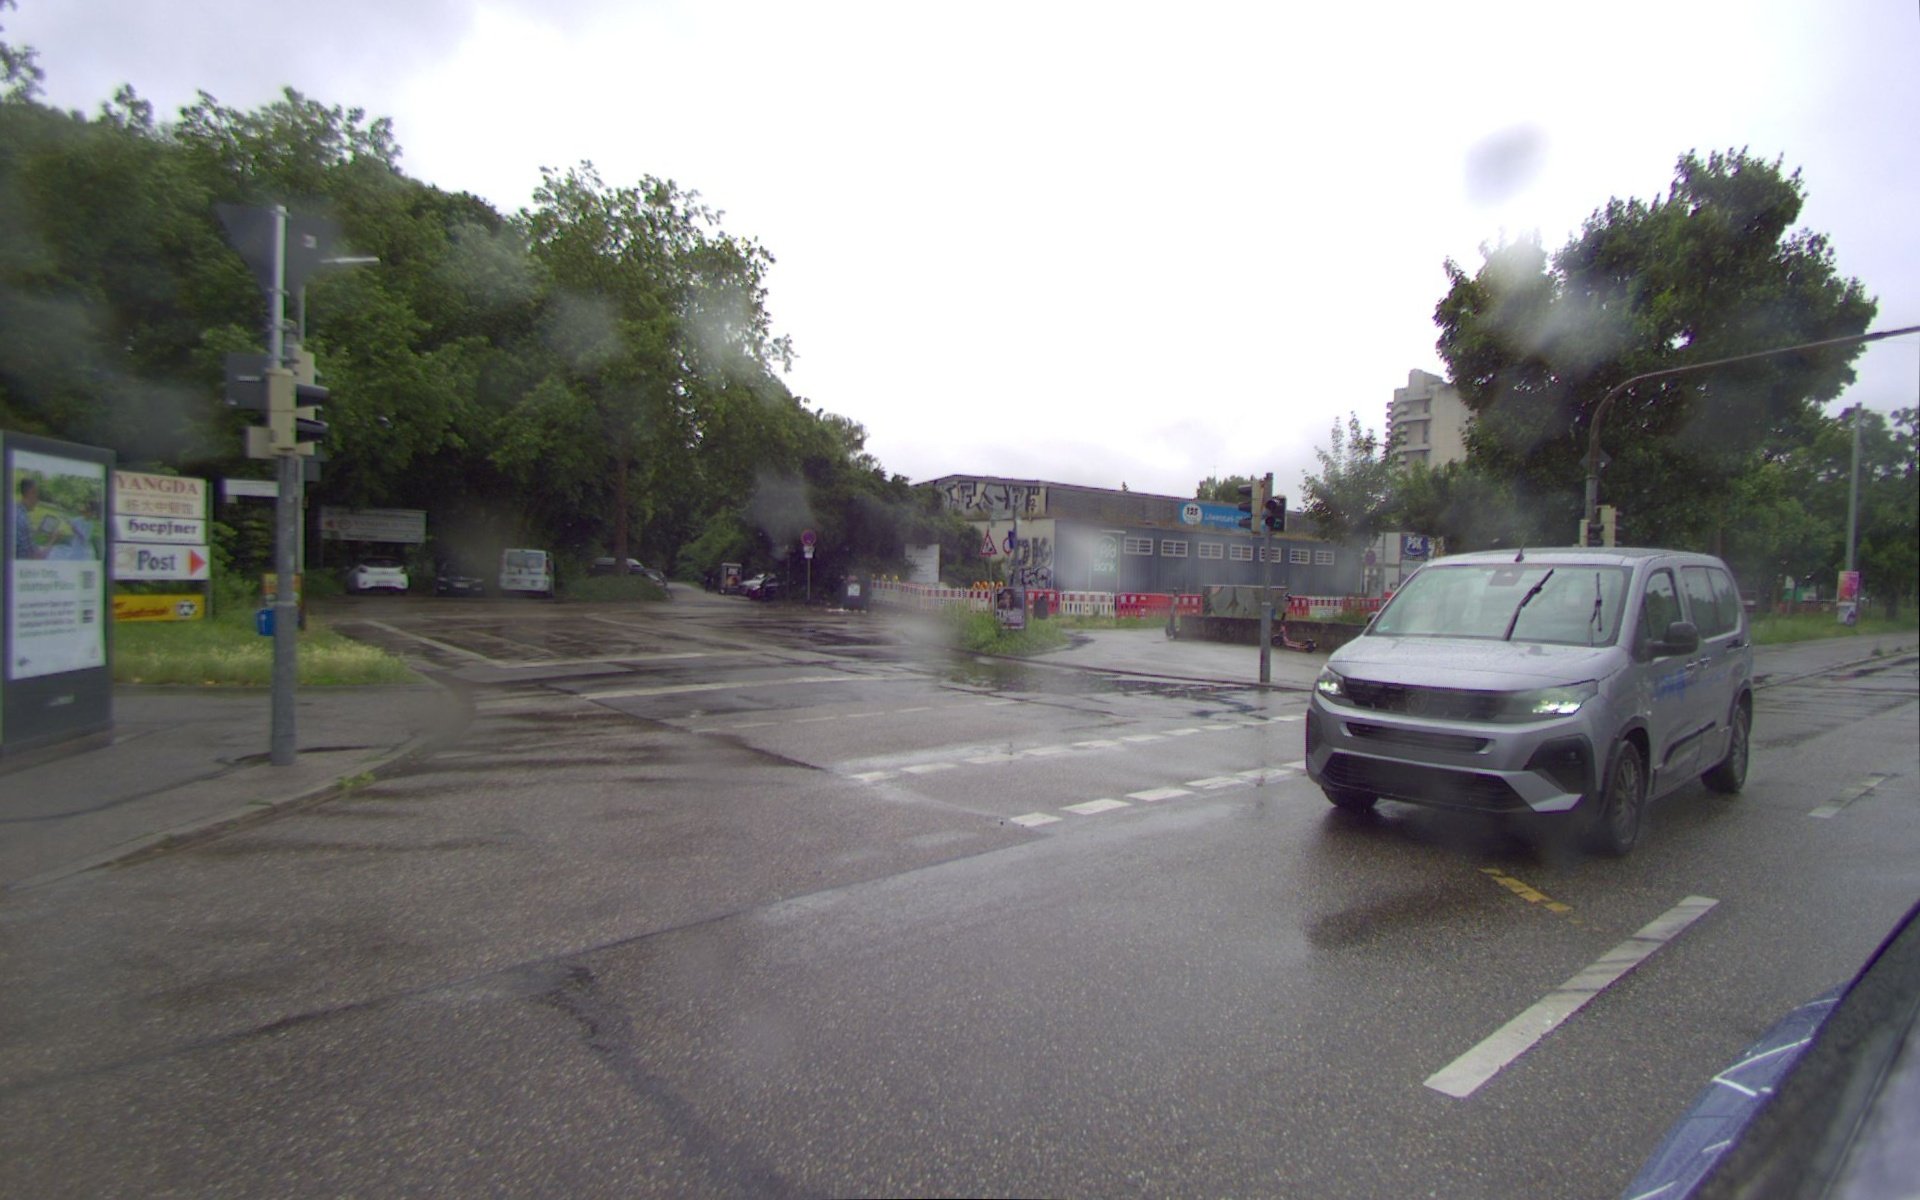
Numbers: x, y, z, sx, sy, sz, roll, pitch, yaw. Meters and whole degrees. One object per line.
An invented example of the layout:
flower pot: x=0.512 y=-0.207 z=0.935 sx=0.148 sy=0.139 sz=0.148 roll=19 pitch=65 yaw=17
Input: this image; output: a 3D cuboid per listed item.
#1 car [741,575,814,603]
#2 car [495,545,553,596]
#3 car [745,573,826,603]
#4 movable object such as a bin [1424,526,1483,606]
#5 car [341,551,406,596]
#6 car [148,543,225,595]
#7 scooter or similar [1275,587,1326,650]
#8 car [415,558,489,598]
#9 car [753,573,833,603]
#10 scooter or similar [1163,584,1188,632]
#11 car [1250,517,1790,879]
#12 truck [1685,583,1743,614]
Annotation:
car: x=-10.245 y=-0.641 z=56.725 sx=3.916 sy=1.529 sz=1.706 roll=0 pitch=0 yaw=-14
car: x=-18.086 y=-1.178 z=42.133 sx=1.885 sy=1.989 sz=4.203 roll=0 pitch=0 yaw=-19
car: x=-9.350 y=-0.645 z=54.237 sx=4.123 sy=1.592 sz=1.810 roll=0 pitch=0 yaw=-14
movable object such as a bin: x=28.673 y=-1.926 z=58.759 sx=3.838 sy=4.482 sz=1.557 roll=0 pitch=0 yaw=-39
car: x=-22.290 y=-0.955 z=38.397 sx=1.689 sy=1.617 sz=3.667 roll=0 pitch=0 yaw=-37
car: x=-26.380 y=-0.993 z=34.473 sx=1.892 sy=1.651 sz=4.595 roll=0 pitch=0 yaw=-40
scooter or similar: x=7.286 y=0.384 z=21.673 sx=0.316 sy=1.244 sz=0.961 roll=1 pitch=4 yaw=-35
car: x=-20.171 y=-0.845 z=40.081 sx=1.890 sy=1.508 sz=4.192 roll=0 pitch=0 yaw=-37
car: x=-8.575 y=-0.610 z=51.987 sx=3.916 sy=1.529 sz=1.706 roll=0 pitch=0 yaw=-14
scooter or similar: x=5.375 y=0.202 z=25.233 sx=0.549 sy=1.191 sz=0.286 roll=1 pitch=1 yaw=-34
car: x=4.236 y=0.470 z=7.313 sx=4.482 sy=1.818 sz=1.997 roll=0 pitch=1 yaw=-41
truck: x=74.458 y=-0.213 z=99.860 sx=8.598 sy=2.935 sz=2.808 roll=-1 pitch=0 yaw=-41
